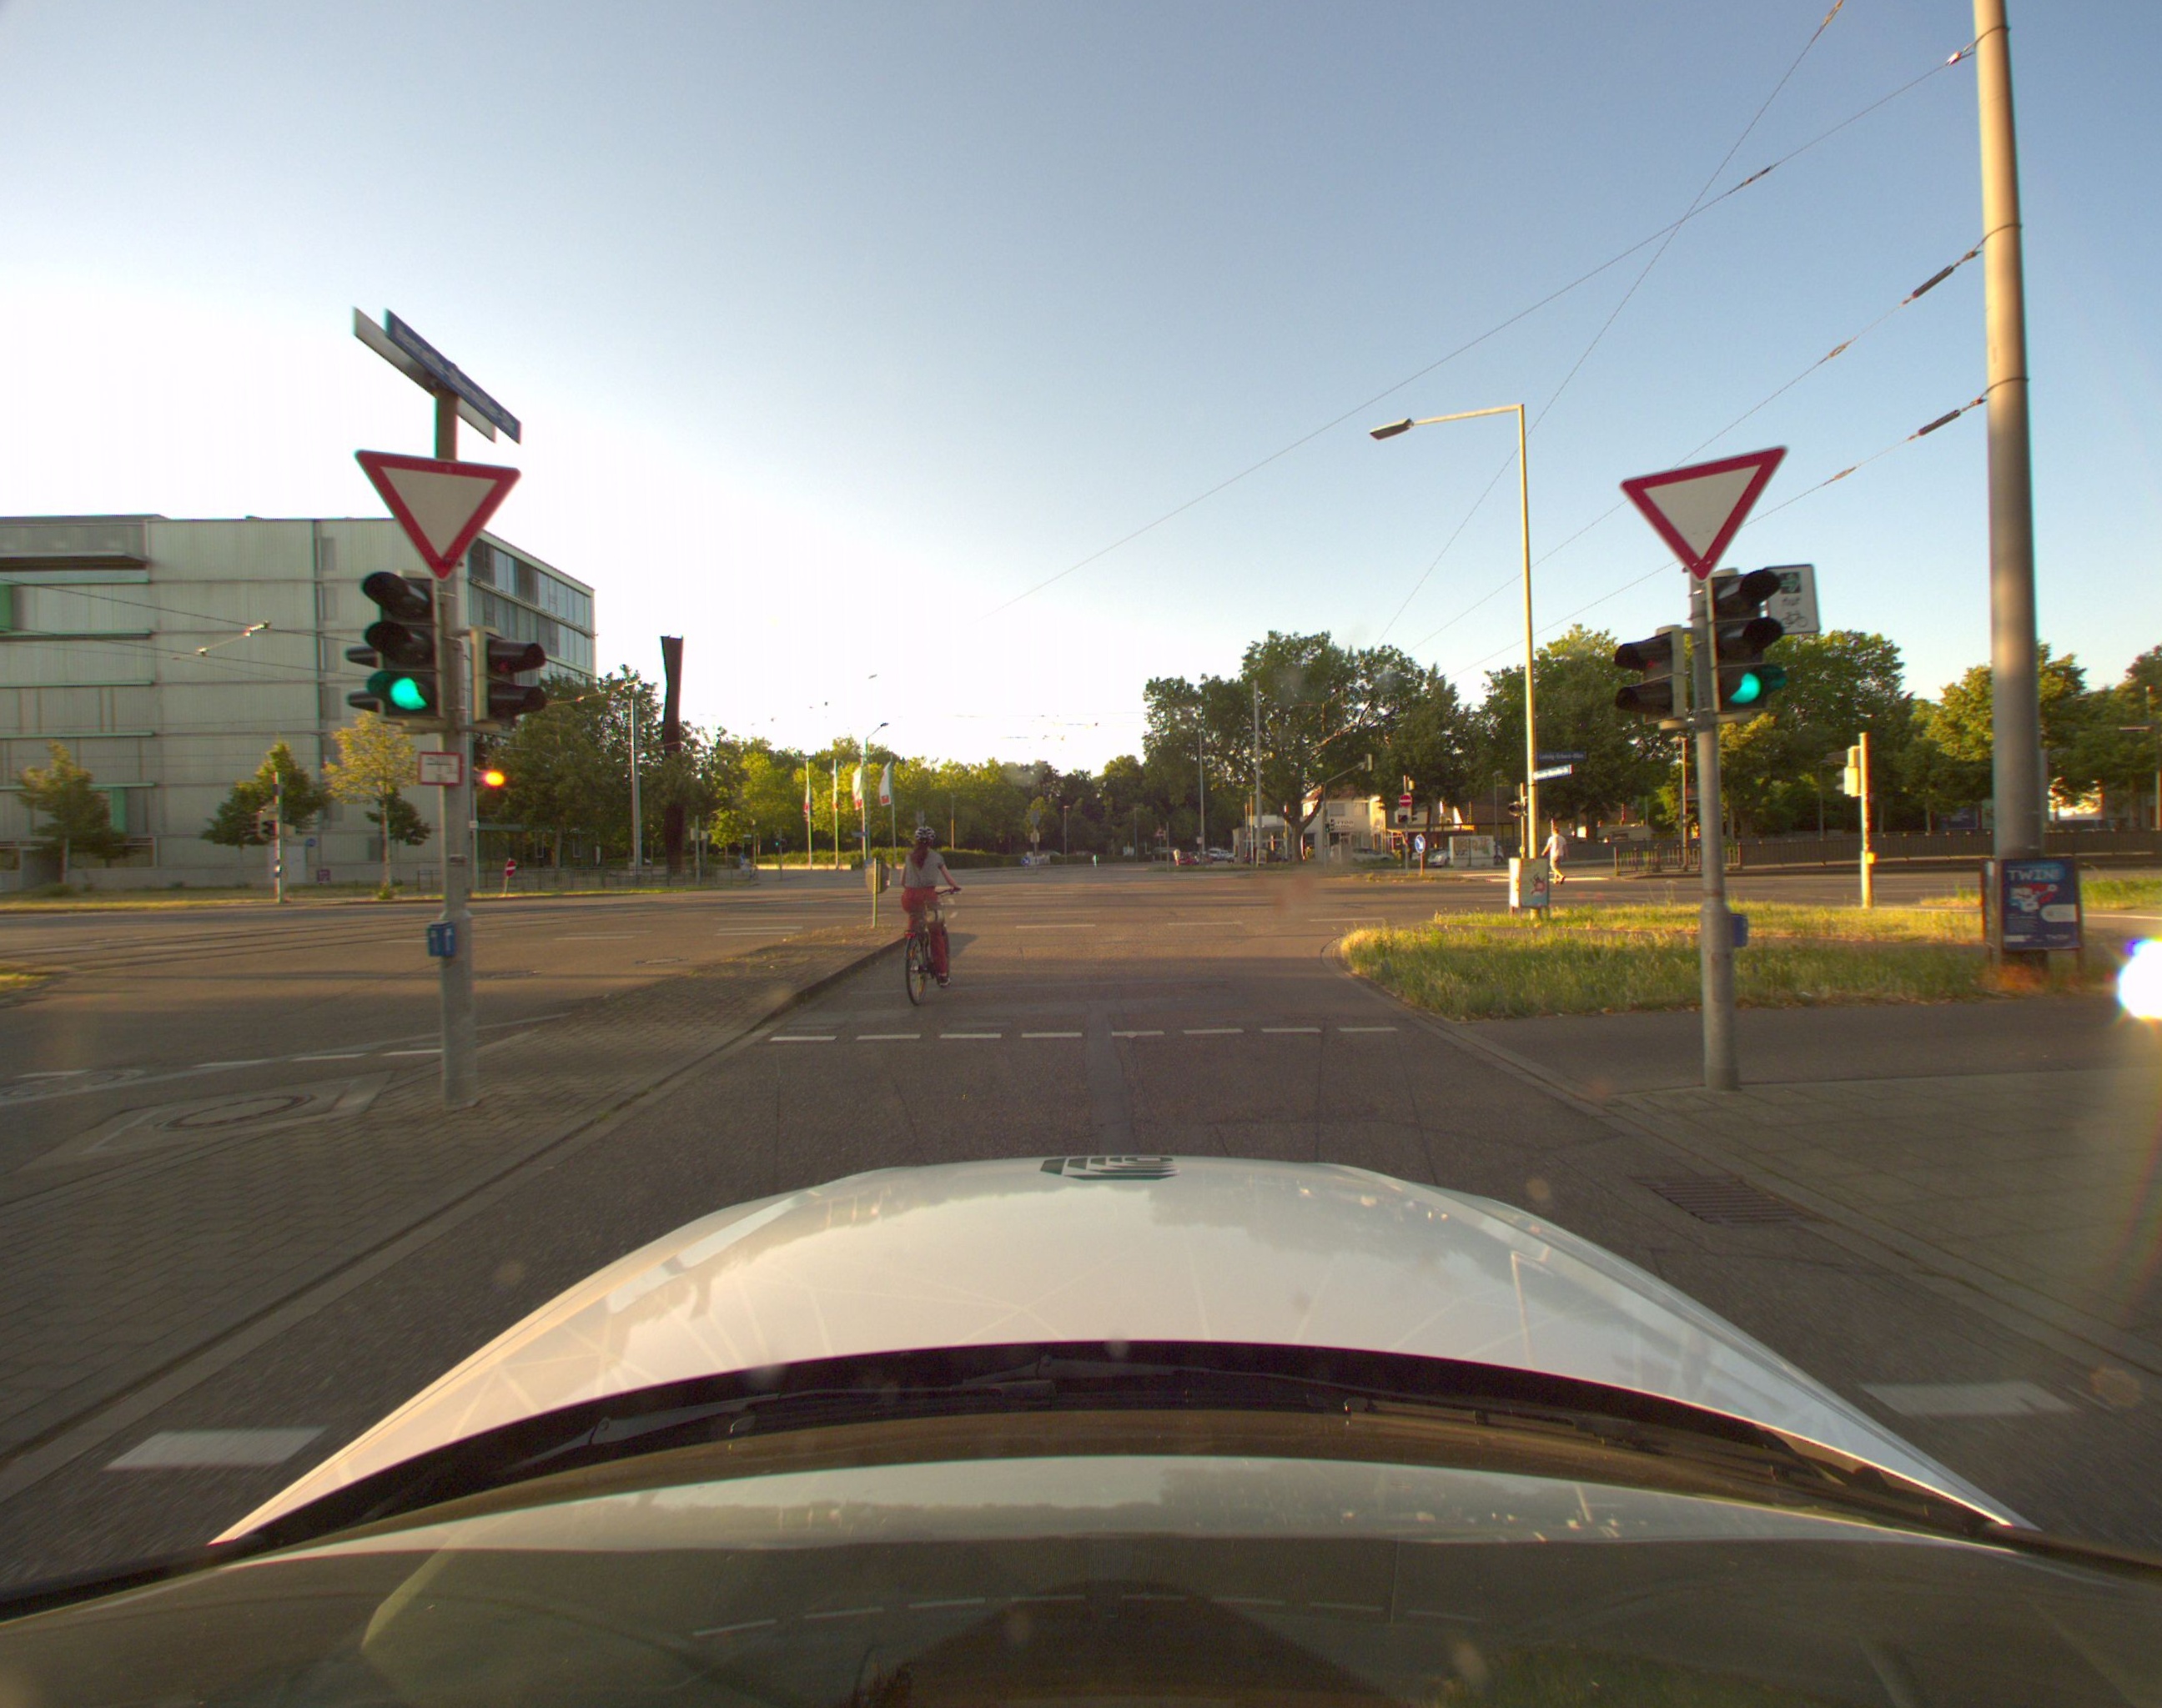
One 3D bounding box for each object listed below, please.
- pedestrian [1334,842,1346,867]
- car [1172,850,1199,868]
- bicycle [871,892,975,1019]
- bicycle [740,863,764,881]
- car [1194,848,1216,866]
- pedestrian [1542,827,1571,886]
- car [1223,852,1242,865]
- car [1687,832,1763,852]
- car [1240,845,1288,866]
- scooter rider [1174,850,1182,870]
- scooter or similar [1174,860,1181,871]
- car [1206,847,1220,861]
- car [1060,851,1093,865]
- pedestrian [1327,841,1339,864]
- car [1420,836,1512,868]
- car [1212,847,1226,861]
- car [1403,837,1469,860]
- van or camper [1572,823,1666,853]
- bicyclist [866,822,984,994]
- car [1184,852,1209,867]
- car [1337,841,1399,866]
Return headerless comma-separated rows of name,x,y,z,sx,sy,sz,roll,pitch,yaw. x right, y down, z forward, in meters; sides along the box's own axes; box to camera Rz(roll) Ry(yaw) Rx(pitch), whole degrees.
pedestrian,18.697,0.057,58.740,0.712,1.754,0.903,-1,0,25
car,11.163,0.519,86.652,1.852,1.874,3.895,-1,0,22
bicycle,-1.614,0.993,8.648,0.632,1.068,2.122,-1,0,1
bicycle,-21.954,1.161,54.423,0.697,1.136,2.391,-1,0,-2
car,14.369,0.337,94.247,1.899,2.047,4.019,-1,0,19
pedestrian,14.608,0.074,24.999,0.754,1.791,0.807,0,0,31
car,19.768,0.591,106.102,1.899,1.602,4.019,-1,0,19
car,49.730,-0.918,62.934,4.212,1.464,2.002,-1,0,3
car,17.937,0.140,79.869,4.355,1.835,1.952,-1,0,5
scooter rider,9.280,0.596,77.974,0.700,1.855,0.669,-1,-1,0
scooter or similar,9.260,1.092,77.952,0.508,1.090,1.243,-1,0,1
car,19.727,-0.017,122.082,1.982,2.013,4.009,-1,0,8
car,-0.511,0.459,100.569,3.971,1.561,2.001,-1,0,2
pedestrian,18.616,-0.111,60.112,0.712,1.639,0.903,-1,0,25
car,22.541,-0.106,47.790,4.524,1.728,1.859,-1,0,-4
car,21.412,0.005,126.647,1.982,2.013,4.009,-1,0,8
car,27.291,-0.420,62.678,4.212,1.577,2.002,-1,0,3
van or camper,46.483,-1.373,70.470,6.532,2.410,2.267,-1,-1,5
bicyclist,-1.636,0.548,8.739,1.028,1.718,0.996,-1,0,0
car,12.855,0.618,90.437,1.977,1.574,4.021,-1,0,21
car,22.285,-0.036,63.346,4.212,1.846,2.002,-1,0,3
